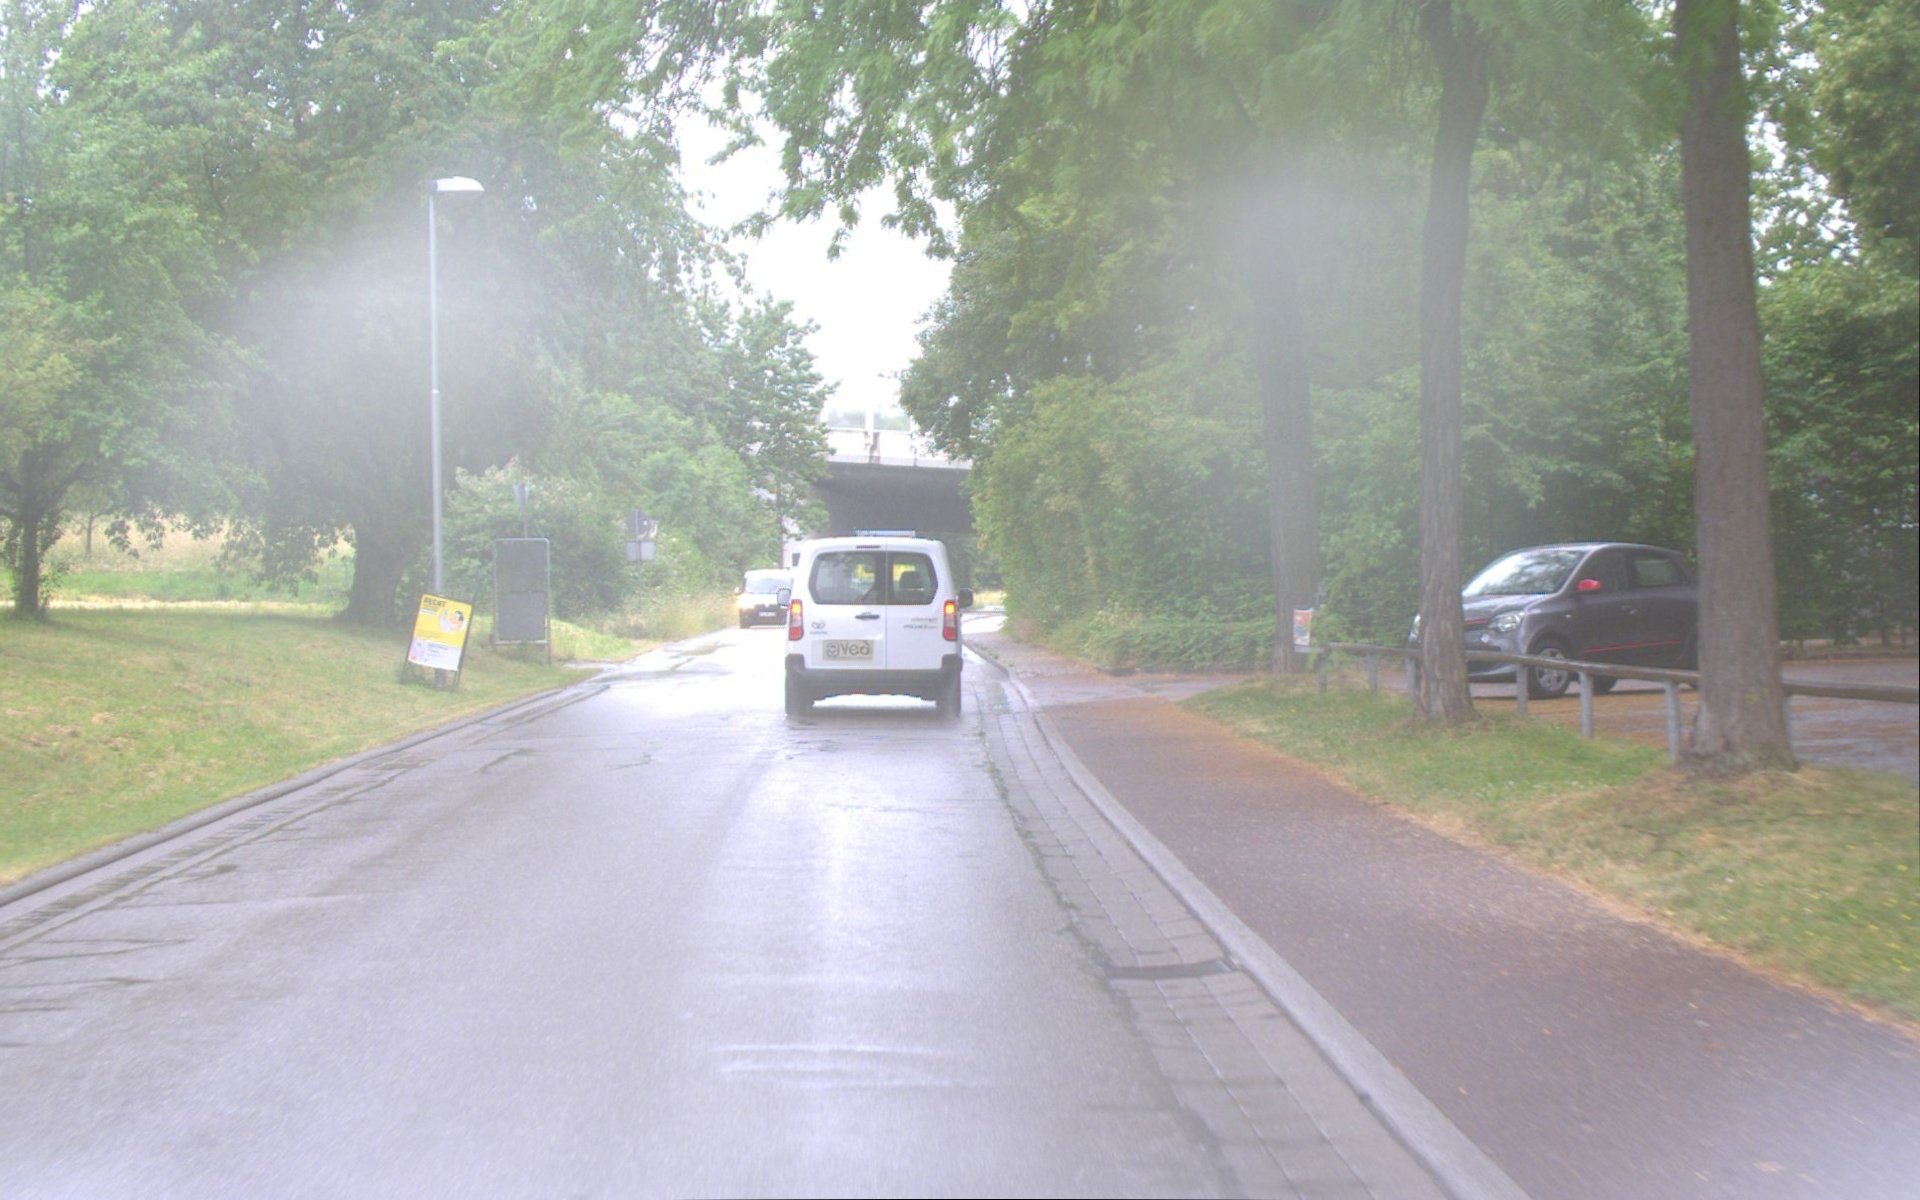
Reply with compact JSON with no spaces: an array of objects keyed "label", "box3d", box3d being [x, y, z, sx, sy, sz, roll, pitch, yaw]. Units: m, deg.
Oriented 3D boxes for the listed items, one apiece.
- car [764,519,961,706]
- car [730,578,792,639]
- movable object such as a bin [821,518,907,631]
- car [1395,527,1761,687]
[{"label":"car","box3d":[-0.971,0.101,35.856,1.896,1.801,4.000,-1,1,0]},{"label":"car","box3d":[-6.111,0.261,105.942,1.823,1.825,4.307,0,0,-2]},{"label":"movable object such as a bin","box3d":[-2.198,-0.576,80.015,1.761,2.539,4.238,0,0,2]},{"label":"car","box3d":[6.317,0.059,35.029,3.602,1.546,1.621,-1,-1,-37]}]
